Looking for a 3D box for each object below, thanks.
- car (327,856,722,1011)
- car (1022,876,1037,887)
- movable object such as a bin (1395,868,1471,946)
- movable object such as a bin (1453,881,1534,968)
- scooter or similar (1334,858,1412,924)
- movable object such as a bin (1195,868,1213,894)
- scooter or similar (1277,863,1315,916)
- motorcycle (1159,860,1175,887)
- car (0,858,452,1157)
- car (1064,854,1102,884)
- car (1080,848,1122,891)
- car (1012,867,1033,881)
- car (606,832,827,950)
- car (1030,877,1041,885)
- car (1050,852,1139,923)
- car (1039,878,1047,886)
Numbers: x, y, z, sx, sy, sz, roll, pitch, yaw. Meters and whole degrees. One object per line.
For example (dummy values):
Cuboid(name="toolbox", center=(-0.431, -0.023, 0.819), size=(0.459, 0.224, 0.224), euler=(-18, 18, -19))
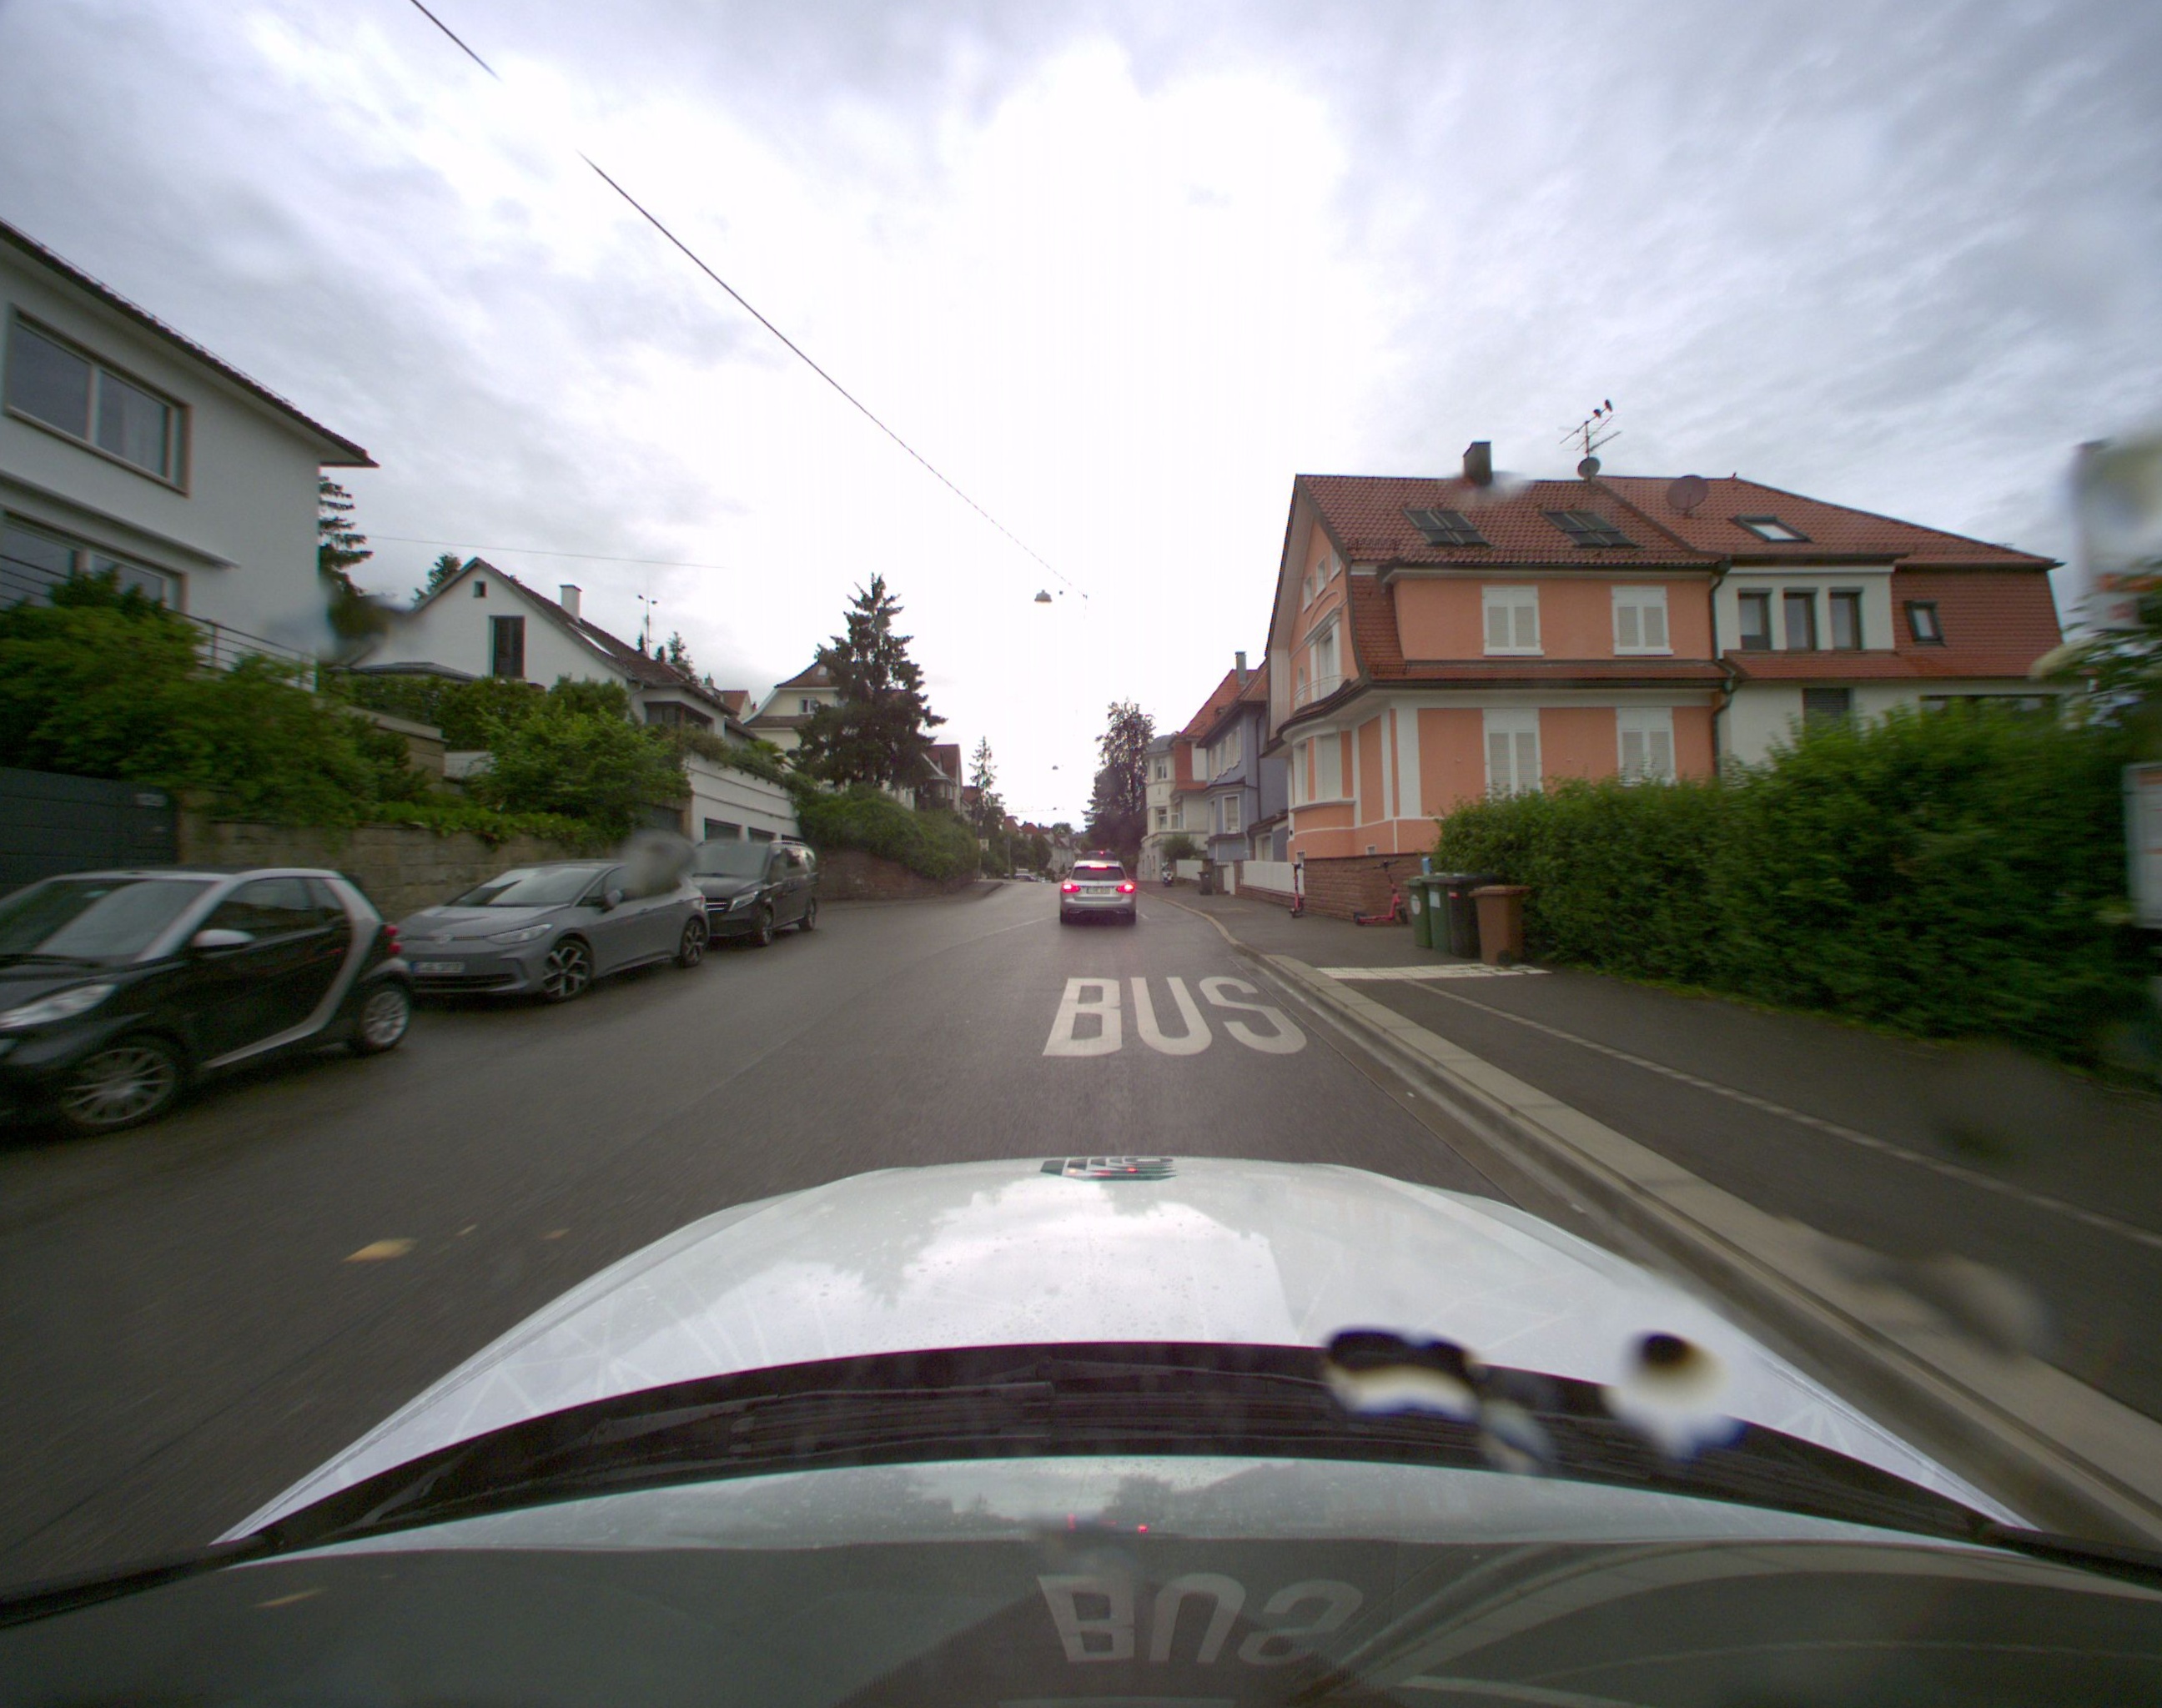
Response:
Cuboid(name="car", center=(-6.478, 0.796, 10.246), size=(1.891, 1.515, 4.343), euler=(1, 0, 1))
Cuboid(name="car", center=(-6.596, 3.538, 104.100), size=(1.753, 1.314, 3.680), euler=(1, 0, -2))
Cuboid(name="movable object such as a bin", center=(5.015, 0.740, 11.655), size=(0.709, 1.030, 0.756), euler=(-2, 0, -3))
Cuboid(name="movable object such as a bin", center=(4.910, 0.814, 9.701), size=(0.573, 0.969, 0.663), euler=(1, -1, -33))
Cuboid(name="scooter or similar", center=(5.692, 0.724, 15.884), size=(1.245, 1.224, 0.699), euler=(-4, -2, 31))
Cuboid(name="movable object such as a bin", center=(4.750, 1.036, 31.391), size=(0.547, 0.936, 0.633), euler=(-3, 0, -1))
Cuboid(name="scooter or similar", center=(5.160, 0.842, 19.609), size=(0.689, 1.224, 1.302), euler=(0, 0, 7))
Cuboid(name="motorcycle", center=(4.320, 0.963, 41.100), size=(0.579, 1.261, 2.332), euler=(-3, -1, 2))
Cuboid(name="car", center=(-6.277, 0.796, 5.685), size=(1.494, 1.524, 3.153), euler=(0, 0, -5))
Cuboid(name="car", center=(0.131, 0.807, 45.962), size=(1.987, 1.539, 4.333), euler=(-1, 0, 1))
Cuboid(name="car", center=(0.954, 0.689, 38.381), size=(1.817, 1.883, 4.096), euler=(-2, 0, 1))
Cuboid(name="car", center=(-6.417, 2.178, 89.693), size=(2.111, 1.471, 4.013), euler=(0, 0, -2))
Cuboid(name="car", center=(-6.656, 0.615, 15.762), size=(2.125, 1.860, 5.584), euler=(0, 0, -5))
Cuboid(name="car", center=(-7.567, 4.505, 135.937), size=(1.632, 1.314, 3.473), euler=(0, 0, -2))
Cuboid(name="car", center=(0.319, 0.759, 20.184), size=(1.976, 1.554, 4.297), euler=(0, 0, 0))
Cuboid(name="car", center=(-6.789, 4.930, 145.656), size=(1.425, 1.314, 3.403), euler=(-1, 0, -2))
